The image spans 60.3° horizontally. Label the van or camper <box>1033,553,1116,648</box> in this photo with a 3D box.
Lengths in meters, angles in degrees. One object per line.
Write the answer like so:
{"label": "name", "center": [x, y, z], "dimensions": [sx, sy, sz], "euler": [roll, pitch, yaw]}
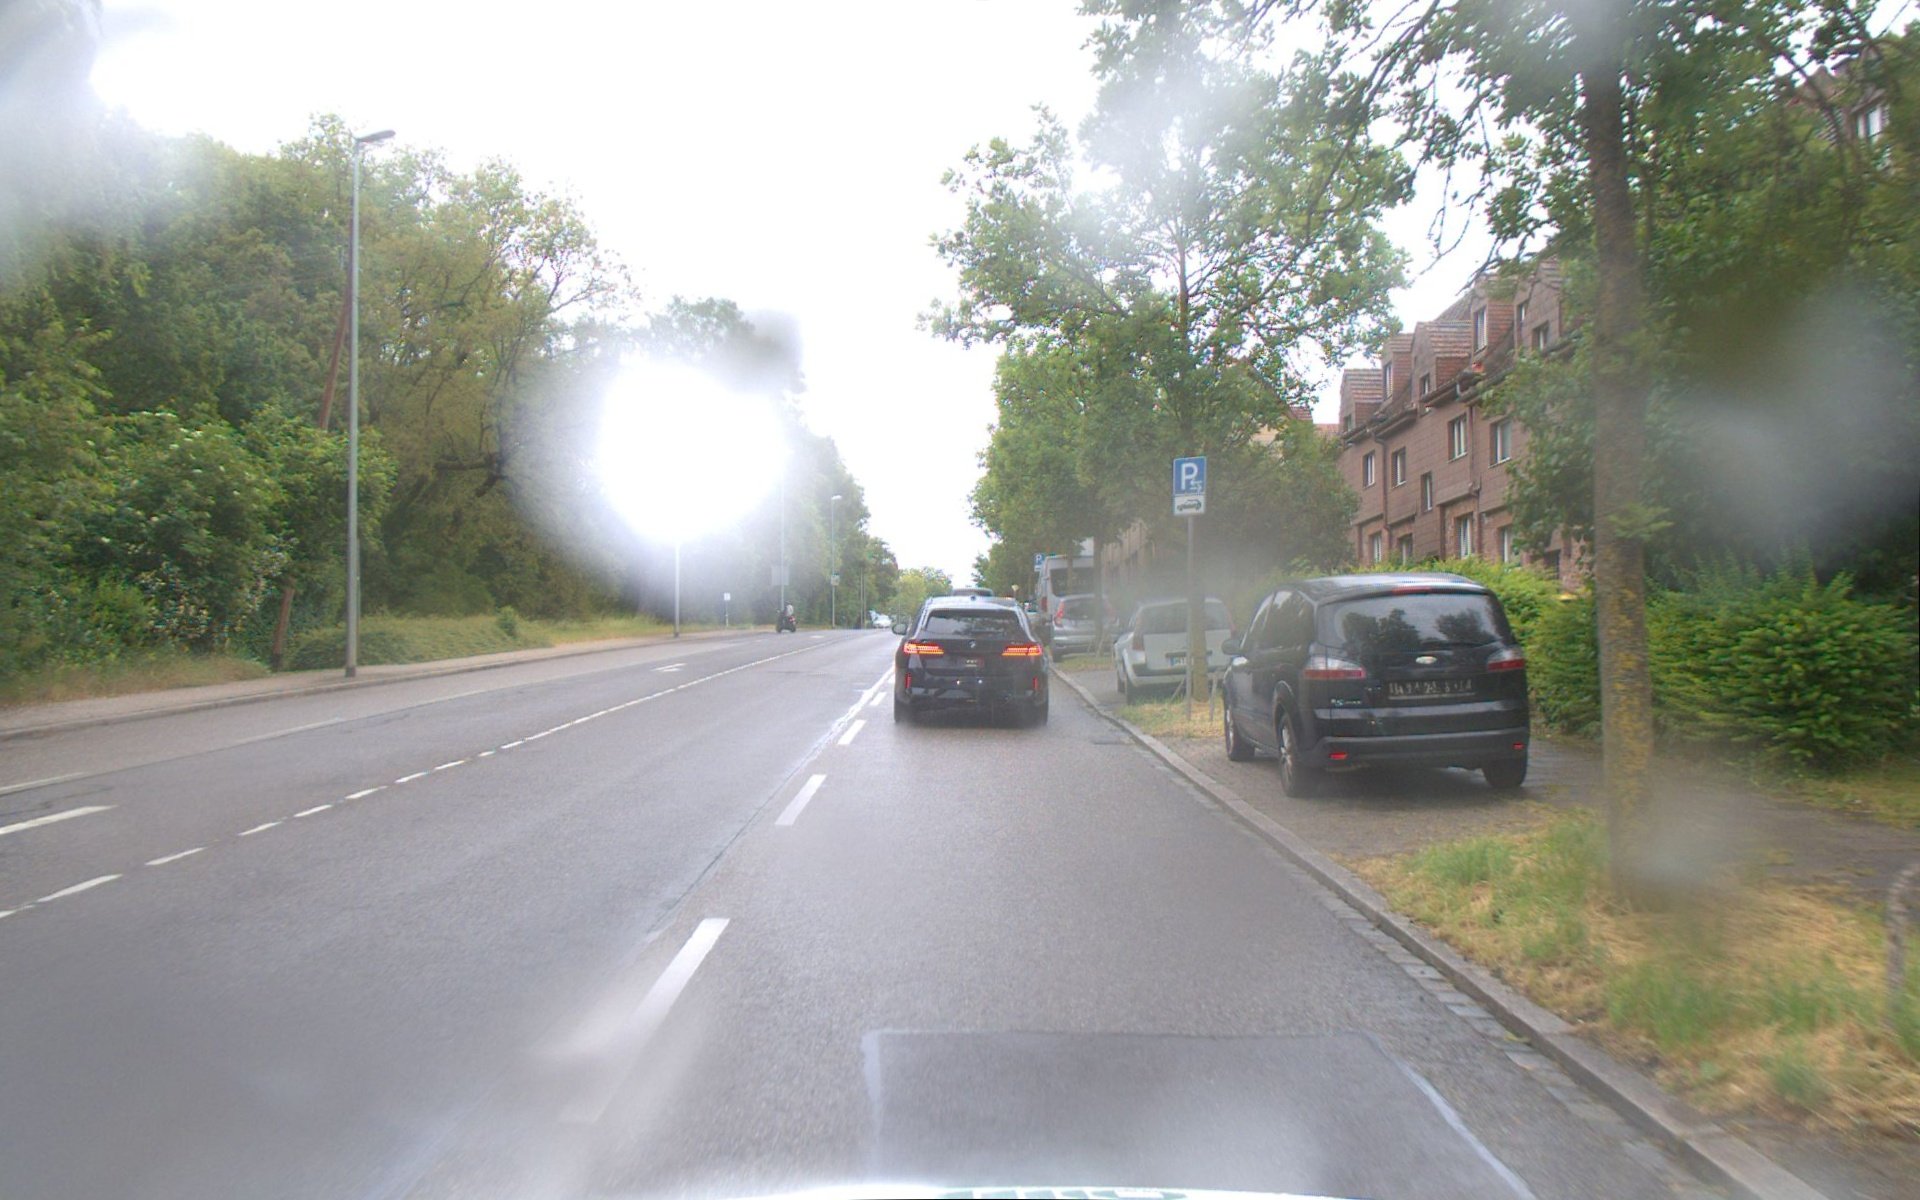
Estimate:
{"label": "van or camper", "center": [3.477, -0.002, 51.588], "dimensions": [2.152, 2.697, 7.302], "euler": [-2, 0, 1]}

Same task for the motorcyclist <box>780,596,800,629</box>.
{"label": "motorcyclist", "center": [-9.097, 0.658, 88.336], "dimensions": [0.640, 1.710, 0.808], "euler": [1, 0, 42]}

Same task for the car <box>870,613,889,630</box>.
{"label": "car", "center": [-7.539, 2.043, 155.184], "dimensions": [1.655, 1.509, 4.450], "euler": [-2, -1, -1]}

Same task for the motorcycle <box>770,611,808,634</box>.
{"label": "motorcycle", "center": [-9.151, 1.199, 88.389], "dimensions": [2.150, 1.137, 0.819], "euler": [1, 0, 43]}

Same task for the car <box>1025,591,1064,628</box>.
{"label": "car", "center": [4.039, 0.449, 79.664], "dimensions": [1.667, 1.612, 4.644], "euler": [-4, 0, 2]}

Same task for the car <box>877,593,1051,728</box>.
{"label": "car", "center": [0.025, 0.718, 21.002], "dimensions": [1.953, 1.478, 3.999], "euler": [2, -1, -1]}

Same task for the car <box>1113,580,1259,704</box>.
{"label": "car", "center": [3.286, 0.562, 24.817], "dimensions": [1.786, 1.631, 4.475], "euler": [-2, 0, 3]}

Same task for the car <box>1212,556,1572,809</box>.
{"label": "car", "center": [3.384, 0.571, 13.916], "dimensions": [1.787, 1.707, 4.584], "euler": [-2, 0, 0]}

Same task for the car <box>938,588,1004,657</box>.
{"label": "car", "center": [0.358, 0.697, 51.165], "dimensions": [1.952, 2.049, 4.000], "euler": [0, -1, 1]}

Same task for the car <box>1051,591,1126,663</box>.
{"label": "car", "center": [3.055, 0.626, 39.798], "dimensions": [1.634, 1.555, 3.833], "euler": [-3, 0, 3]}
